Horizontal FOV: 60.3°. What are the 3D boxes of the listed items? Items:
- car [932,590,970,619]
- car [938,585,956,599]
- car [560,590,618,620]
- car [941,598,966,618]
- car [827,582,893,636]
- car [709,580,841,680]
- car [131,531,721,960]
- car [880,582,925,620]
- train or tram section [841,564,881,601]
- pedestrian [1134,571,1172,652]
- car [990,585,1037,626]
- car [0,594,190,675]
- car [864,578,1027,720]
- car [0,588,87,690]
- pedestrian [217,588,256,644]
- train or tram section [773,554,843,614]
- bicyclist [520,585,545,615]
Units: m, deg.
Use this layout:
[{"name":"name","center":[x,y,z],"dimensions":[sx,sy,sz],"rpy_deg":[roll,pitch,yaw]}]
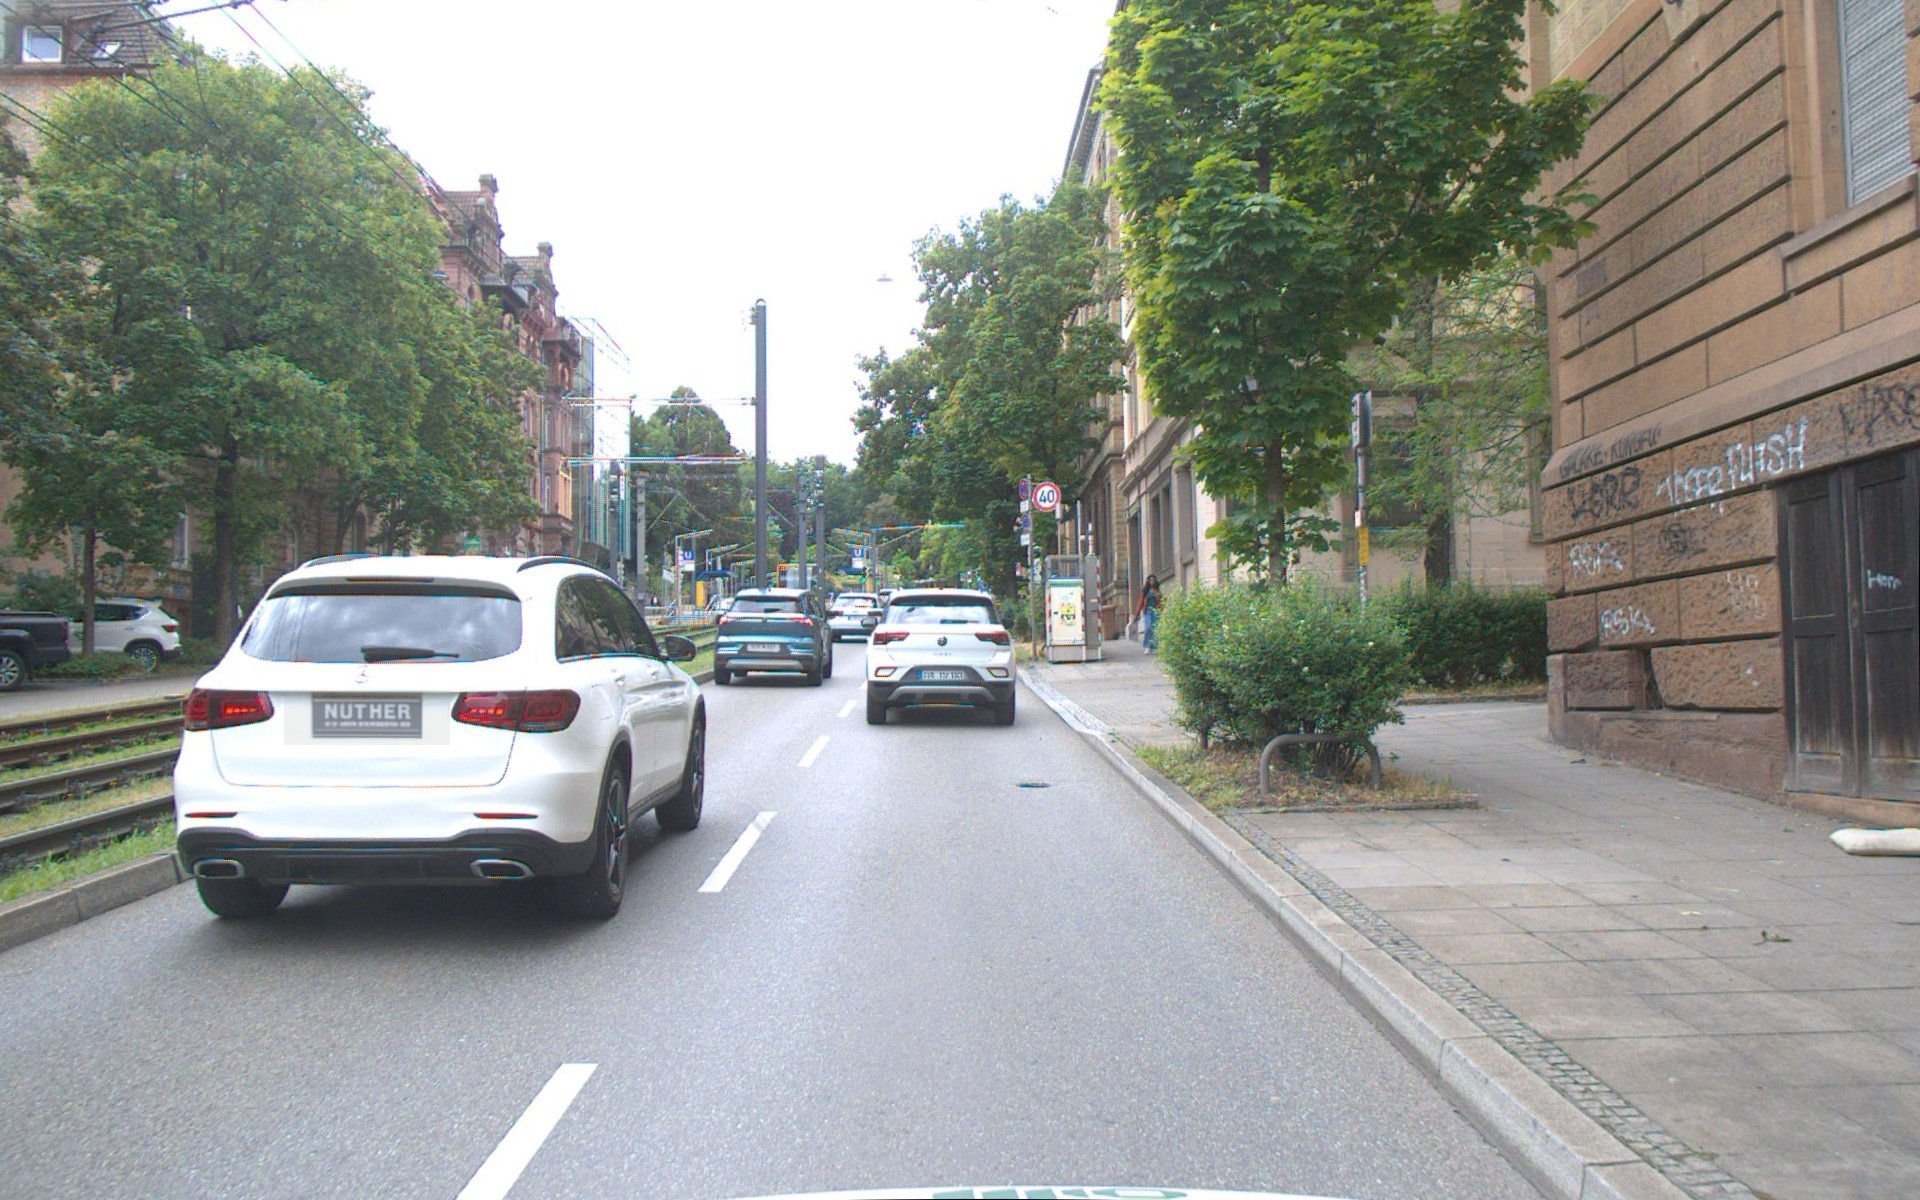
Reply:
[{"name":"car","center":[-0.513,0.250,91.914],"dimensions":[2.026,1.573,4.193],"rpy_deg":[1,0,-1]},{"name":"car","center":[-1.482,-0.918,187.010],"dimensions":[2.026,1.573,4.193],"rpy_deg":[1,0,-1]},{"name":"car","center":[-18.287,0.223,81.615],"dimensions":[1.953,1.427,4.000],"rpy_deg":[-1,0,0]},{"name":"car","center":[-0.525,0.617,133.209],"dimensions":[2.026,1.573,4.193],"rpy_deg":[1,0,-1]},{"name":"car","center":[-3.040,0.266,51.071],"dimensions":[1.798,1.573,4.193],"rpy_deg":[1,0,-1]},{"name":"car","center":[-3.091,0.479,28.362],"dimensions":[1.798,1.573,4.193],"rpy_deg":[1,0,-1]},{"name":"car","center":[-2.455,0.582,8.919],"dimensions":[1.799,1.696,4.668],"rpy_deg":[1,0,-2]},{"name":"car","center":[-2.478,0.032,72.113],"dimensions":[1.798,1.573,4.193],"rpy_deg":[1,0,-1]},{"name":"train or tram section","center":[-9.382,-1.609,158.138],"dimensions":[2.934,3.407,13.438],"rpy_deg":[-1,0,0]},{"name":"pedestrian","center":[4.113,0.240,35.214],"dimensions":[0.695,1.691,1.128],"rpy_deg":[-1,1,12]},{"name":"car","center":[2.272,0.239,71.017],"dimensions":[1.798,1.629,4.193],"rpy_deg":[-2,0,-1]},{"name":"car","center":[-19.103,0.712,35.332],"dimensions":[4.554,1.645,1.913],"rpy_deg":[1,0,-35]},{"name":"car","center":[-0.218,0.546,20.544],"dimensions":[1.798,1.573,4.192],"rpy_deg":[1,0,-2]},{"name":"car","center":[-18.339,0.678,29.456],"dimensions":[1.902,1.829,4.579],"rpy_deg":[1,0,42]},{"name":"pedestrian","center":[-22.573,0.483,51.636],"dimensions":[0.814,1.714,0.848],"rpy_deg":[-2,0,-3]},{"name":"train or tram section","center":[-9.113,-0.908,100.434],"dimensions":[2.934,3.407,13.438],"rpy_deg":[-1,0,0]},{"name":"bicyclist","center":[-21.256,-0.018,82.216],"dimensions":[0.919,1.450,1.188],"rpy_deg":[-1,0,-1]}]
